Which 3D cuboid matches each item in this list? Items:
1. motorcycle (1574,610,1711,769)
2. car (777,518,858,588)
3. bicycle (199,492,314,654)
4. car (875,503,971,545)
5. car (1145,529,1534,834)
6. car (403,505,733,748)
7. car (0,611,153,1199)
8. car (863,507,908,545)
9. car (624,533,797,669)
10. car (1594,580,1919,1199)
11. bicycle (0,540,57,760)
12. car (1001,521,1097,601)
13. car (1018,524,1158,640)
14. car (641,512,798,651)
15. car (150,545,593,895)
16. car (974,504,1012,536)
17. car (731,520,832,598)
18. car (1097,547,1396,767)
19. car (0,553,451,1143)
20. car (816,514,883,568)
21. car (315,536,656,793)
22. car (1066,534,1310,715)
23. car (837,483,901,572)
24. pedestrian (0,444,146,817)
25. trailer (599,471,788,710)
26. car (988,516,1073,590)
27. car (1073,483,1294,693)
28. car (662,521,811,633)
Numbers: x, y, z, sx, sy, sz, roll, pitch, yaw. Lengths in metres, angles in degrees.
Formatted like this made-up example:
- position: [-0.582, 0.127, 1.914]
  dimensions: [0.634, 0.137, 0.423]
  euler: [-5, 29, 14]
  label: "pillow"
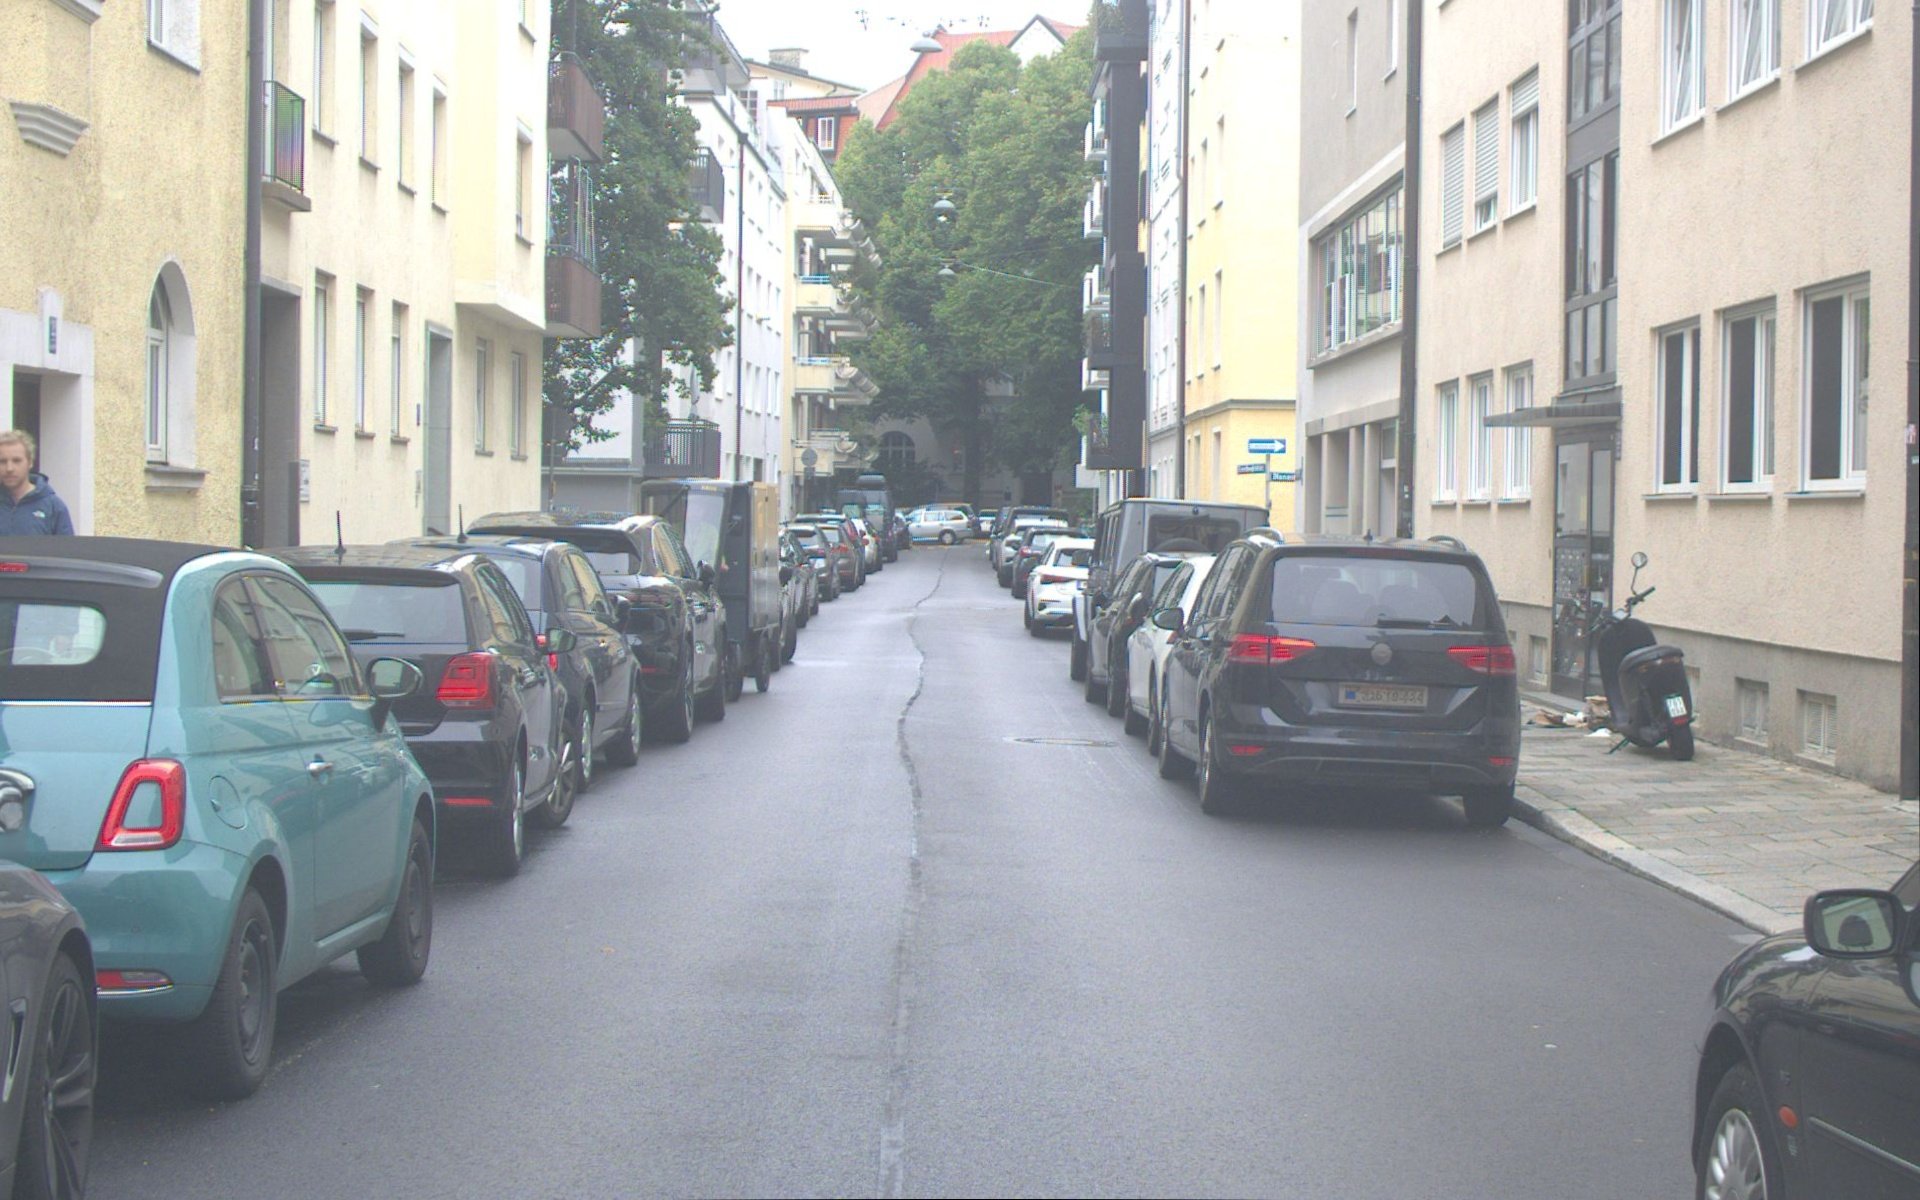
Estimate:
- position: [4.630, 0.588, 23.407]
  dimensions: [0.481, 0.964, 1.911]
  euler: [-3, 1, -1]
  label: "motorcycle"
- position: [-3.034, -1.036, 73.814]
  dimensions: [1.693, 1.437, 3.978]
  euler: [0, 2, -1]
  label: "car"
- position: [-5.809, -0.230, 28.450]
  dimensions: [0.594, 1.274, 1.552]
  euler: [4, 1, -2]
  label: "bicycle"
- position: [-1.537, -3.121, 141.222]
  dimensions: [3.885, 1.579, 1.648]
  euler: [-2, 2, -1]
  label: "car"
- position: [2.193, 0.411, 20.936]
  dimensions: [1.711, 1.602, 4.245]
  euler: [2, 1, -2]
  label: "car"
- position: [-2.838, 0.138, 25.817]
  dimensions: [1.879, 1.654, 4.415]
  euler: [0, 1, 1]
  label: "car"
- position: [-2.670, 0.763, 5.580]
  dimensions: [1.811, 1.381, 4.251]
  euler: [-1, 1, -2]
  label: "car"
- position: [-2.839, -2.819, 131.284]
  dimensions: [1.642, 1.379, 3.483]
  euler: [-2, 2, 0]
  label: "car"
- position: [-2.741, -0.022, 38.420]
  dimensions: [1.652, 1.431, 3.803]
  euler: [0, 1, 0]
  label: "car"
- position: [2.299, 0.766, 4.803]
  dimensions: [1.716, 1.466, 4.532]
  euler: [2, 1, -3]
  label: "car"
- position: [-5.671, 0.272, 19.602]
  dimensions: [0.593, 1.229, 1.737]
  euler: [2, 1, -1]
  label: "bicycle"
- position: [1.804, -0.830, 71.170]
  dimensions: [1.751, 1.464, 4.343]
  euler: [4, 2, -1]
  label: "car"
- position: [1.862, -0.298, 51.077]
  dimensions: [1.819, 1.403, 3.953]
  euler: [2, 4, -1]
  label: "car"
- position: [-3.005, -0.269, 43.690]
  dimensions: [1.766, 1.669, 4.368]
  euler: [0, 1, -1]
  label: "car"
- position: [-2.682, 0.478, 16.386]
  dimensions: [1.563, 1.455, 3.764]
  euler: [0, 1, -2]
  label: "car"
- position: [1.523, -3.696, 158.193]
  dimensions: [1.642, 1.379, 3.746]
  euler: [-2, 2, 0]
  label: "car"
- position: [-3.394, -0.804, 65.947]
  dimensions: [1.693, 1.437, 3.942]
  euler: [0, 2, 1]
  label: "car"
- position: [2.101, 0.371, 26.322]
  dimensions: [1.711, 1.481, 4.245]
  euler: [2, 1, -2]
  label: "car"
- position: [-2.609, 0.603, 10.376]
  dimensions: [1.563, 1.455, 3.404]
  euler: [0, 1, 1]
  label: "car"
- position: [-3.126, -1.708, 98.037]
  dimensions: [1.776, 1.448, 4.046]
  euler: [-2, 2, 0]
  label: "car"
- position: [-2.865, 0.337, 21.370]
  dimensions: [1.563, 1.455, 3.475]
  euler: [0, 1, 1]
  label: "car"
- position: [2.008, 0.174, 31.374]
  dimensions: [1.711, 1.481, 4.245]
  euler: [2, 1, -2]
  label: "car"
- position: [-2.963, -2.388, 112.662]
  dimensions: [1.936, 2.792, 4.533]
  euler: [-2, 2, 0]
  label: "car"
- position: [-4.559, 0.127, 16.847]
  dimensions: [0.839, 1.758, 1.068]
  euler: [2, 1, -1]
  label: "pedestrian"
- position: [-2.454, -0.131, 32.227]
  dimensions: [1.355, 2.108, 3.318]
  euler: [1, 2, 2]
  label: "trailer"
- position: [1.641, -1.133, 81.130]
  dimensions: [1.682, 1.562, 4.416]
  euler: [4, 2, -2]
  label: "car"
- position: [2.278, -0.190, 36.096]
  dimensions: [1.750, 1.968, 4.344]
  euler: [3, 2, -2]
  label: "car"
- position: [-3.160, -0.366, 49.252]
  dimensions: [1.766, 1.478, 4.424]
  euler: [0, 2, 1]
  label: "car"
